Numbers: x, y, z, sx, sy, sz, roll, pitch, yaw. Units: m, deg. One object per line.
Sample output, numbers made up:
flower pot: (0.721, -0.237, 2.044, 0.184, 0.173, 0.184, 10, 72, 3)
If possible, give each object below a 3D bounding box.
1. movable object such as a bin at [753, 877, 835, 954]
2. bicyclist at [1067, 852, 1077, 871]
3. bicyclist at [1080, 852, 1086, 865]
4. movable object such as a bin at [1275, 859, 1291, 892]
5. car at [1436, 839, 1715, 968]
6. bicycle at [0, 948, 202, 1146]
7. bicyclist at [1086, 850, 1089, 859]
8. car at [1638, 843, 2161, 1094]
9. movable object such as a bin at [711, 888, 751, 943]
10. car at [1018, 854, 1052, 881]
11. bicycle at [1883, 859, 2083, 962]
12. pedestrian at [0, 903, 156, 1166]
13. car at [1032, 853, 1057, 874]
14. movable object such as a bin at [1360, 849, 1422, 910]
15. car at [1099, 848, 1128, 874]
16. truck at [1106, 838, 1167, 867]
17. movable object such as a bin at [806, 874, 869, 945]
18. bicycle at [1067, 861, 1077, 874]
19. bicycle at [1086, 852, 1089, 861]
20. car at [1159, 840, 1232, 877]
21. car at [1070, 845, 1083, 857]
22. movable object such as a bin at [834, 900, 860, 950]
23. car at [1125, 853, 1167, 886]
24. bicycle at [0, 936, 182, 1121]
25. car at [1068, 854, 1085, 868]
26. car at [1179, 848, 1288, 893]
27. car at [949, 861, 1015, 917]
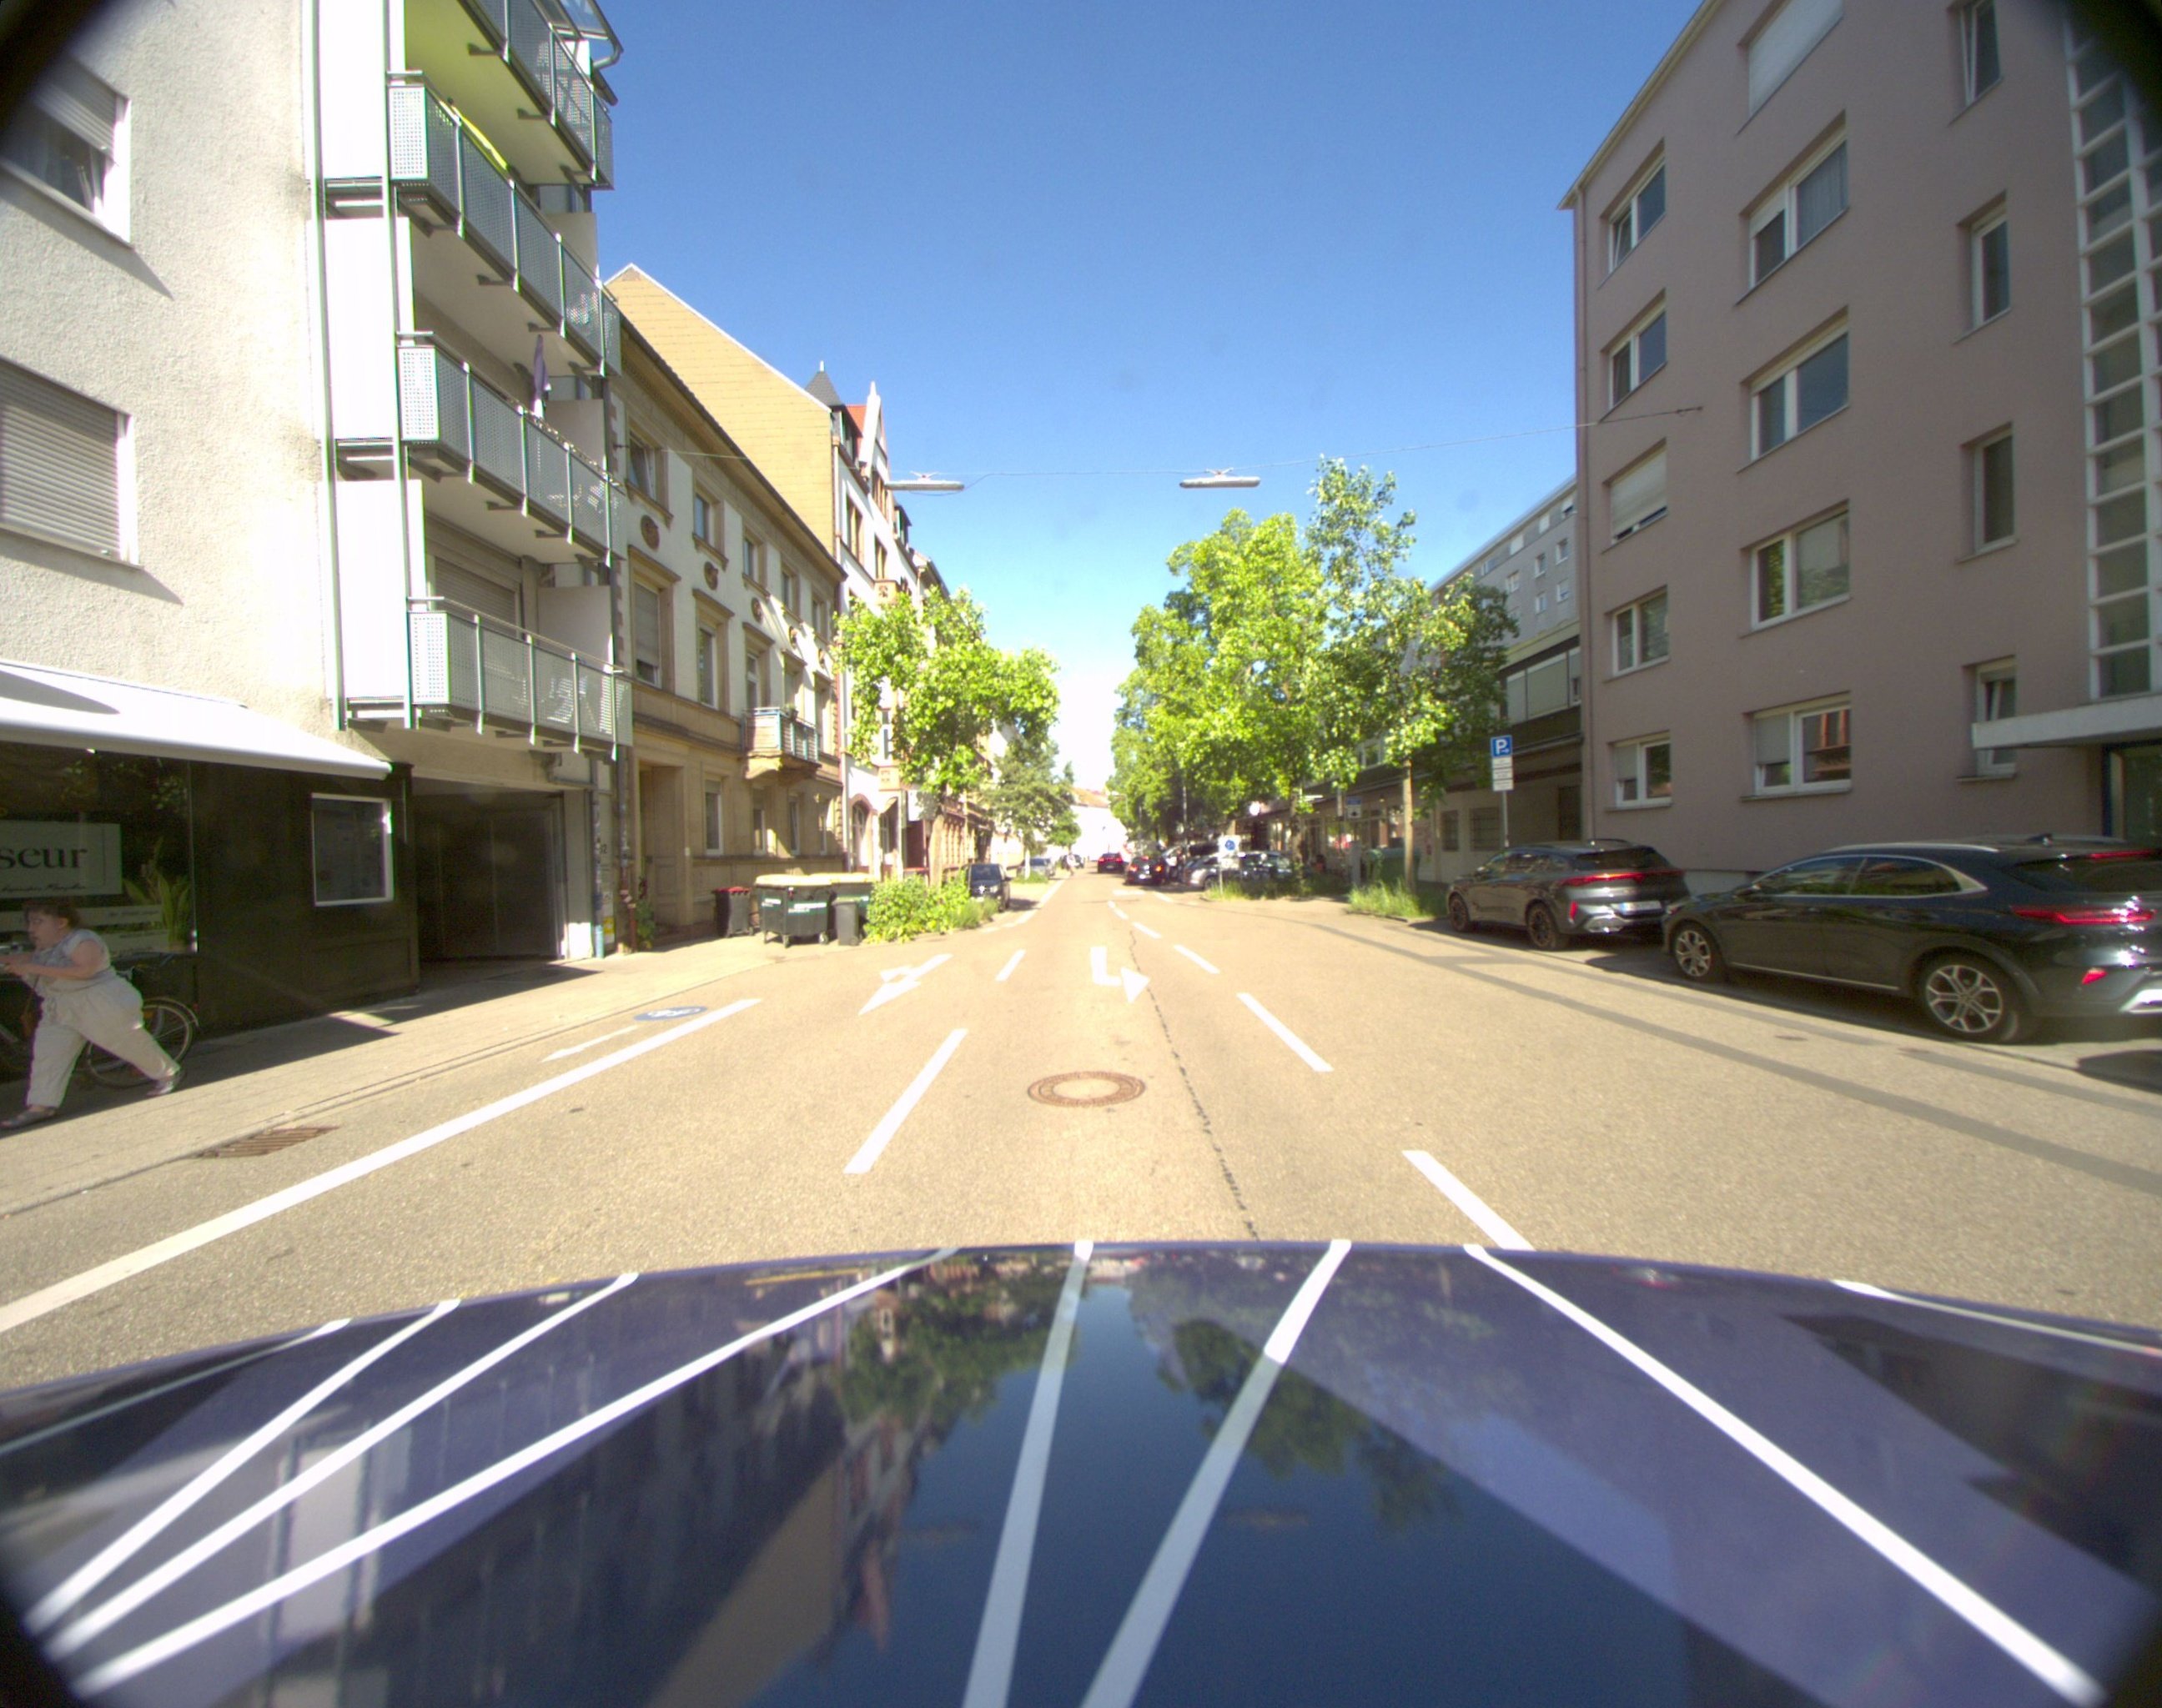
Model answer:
movable object such as a bin: (-5.588, 1.162, 14.778, 1.212, 1.318, 1.052, 2, 3, 42)
bicyclist: (-0.632, 0.539, 55.756, 0.610, 1.338, 1.018, -2, 0, -5)
bicyclist: (0.231, 0.558, 97.279, 0.748, 1.588, 0.613, -3, 1, 1)
movable object such as a bin: (7.620, 0.791, 28.677, 0.488, 1.218, 0.409, -2, 1, 1)
car: (7.591, 0.651, 12.258, 1.821, 1.583, 4.141, -5, 0, 2)
bicycle: (-7.171, 1.318, 5.111, 0.402, 1.126, 1.792, 2, 1, 1)
bicyclist: (1.016, 0.069, 124.407, 0.417, 1.415, 0.324, -2, 1, 1)
car: (7.517, 0.712, 6.929, 1.821, 1.499, 4.245, -4, 0, 2)
movable object such as a bin: (-7.319, 1.272, 15.894, 0.615, 1.075, 0.568, 2, 3, 42)
car: (-2.745, 0.771, 45.889, 1.759, 1.492, 3.949, -2, 0, 0)
bicycle: (10.761, 0.623, 9.156, 0.391, 1.070, 1.650, -6, 0, 2)
pedestrian: (-6.993, 1.127, 4.924, 0.825, 1.529, 0.946, 2, 1, 1)
car: (-2.633, 0.661, 55.204, 1.653, 1.483, 3.290, -2, 0, 0)
movable object such as a bin: (8.135, 0.643, 19.994, 1.247, 1.536, 1.019, -1, 1, 5)
car: (2.410, 0.485, 57.175, 1.994, 1.599, 4.259, -3, 3, 1)
truck: (5.212, -0.166, 71.606, 5.322, 2.581, 1.998, -2, 1, -9)
movable object such as a bin: (-5.085, 1.125, 15.855, 0.960, 1.341, 1.066, -1, 2, -38)
bicycle: (-0.637, 0.986, 55.722, 0.612, 0.876, 1.813, -1, -1, -4)
bicycle: (1.005, 0.405, 124.405, 0.422, 1.292, 1.762, -2, 0, 0)
car: (6.706, 0.273, 44.778, 3.997, 2.020, 2.000, -2, 1, 1)
car: (-0.681, -0.544, 127.737, 1.998, 2.002, 4.000, -2, 0, 1)
movable object such as a bin: (-4.578, 1.385, 14.890, 0.401, 0.916, 0.484, 0, 2, -7)
car: (3.193, 0.729, 37.859, 1.867, 1.455, 4.000, -2, 0, 3)
bicycle: (-7.745, 1.281, 5.447, 0.402, 1.171, 1.792, -2, 0, 1)
car: (-0.427, 0.720, 79.877, 1.653, 1.447, 3.290, -2, 0, 1)
car: (6.089, 0.642, 30.670, 3.997, 1.665, 2.000, -2, 1, 1)
car: (-2.969, 1.016, 23.366, 1.551, 1.483, 3.351, -2, 0, 0)
